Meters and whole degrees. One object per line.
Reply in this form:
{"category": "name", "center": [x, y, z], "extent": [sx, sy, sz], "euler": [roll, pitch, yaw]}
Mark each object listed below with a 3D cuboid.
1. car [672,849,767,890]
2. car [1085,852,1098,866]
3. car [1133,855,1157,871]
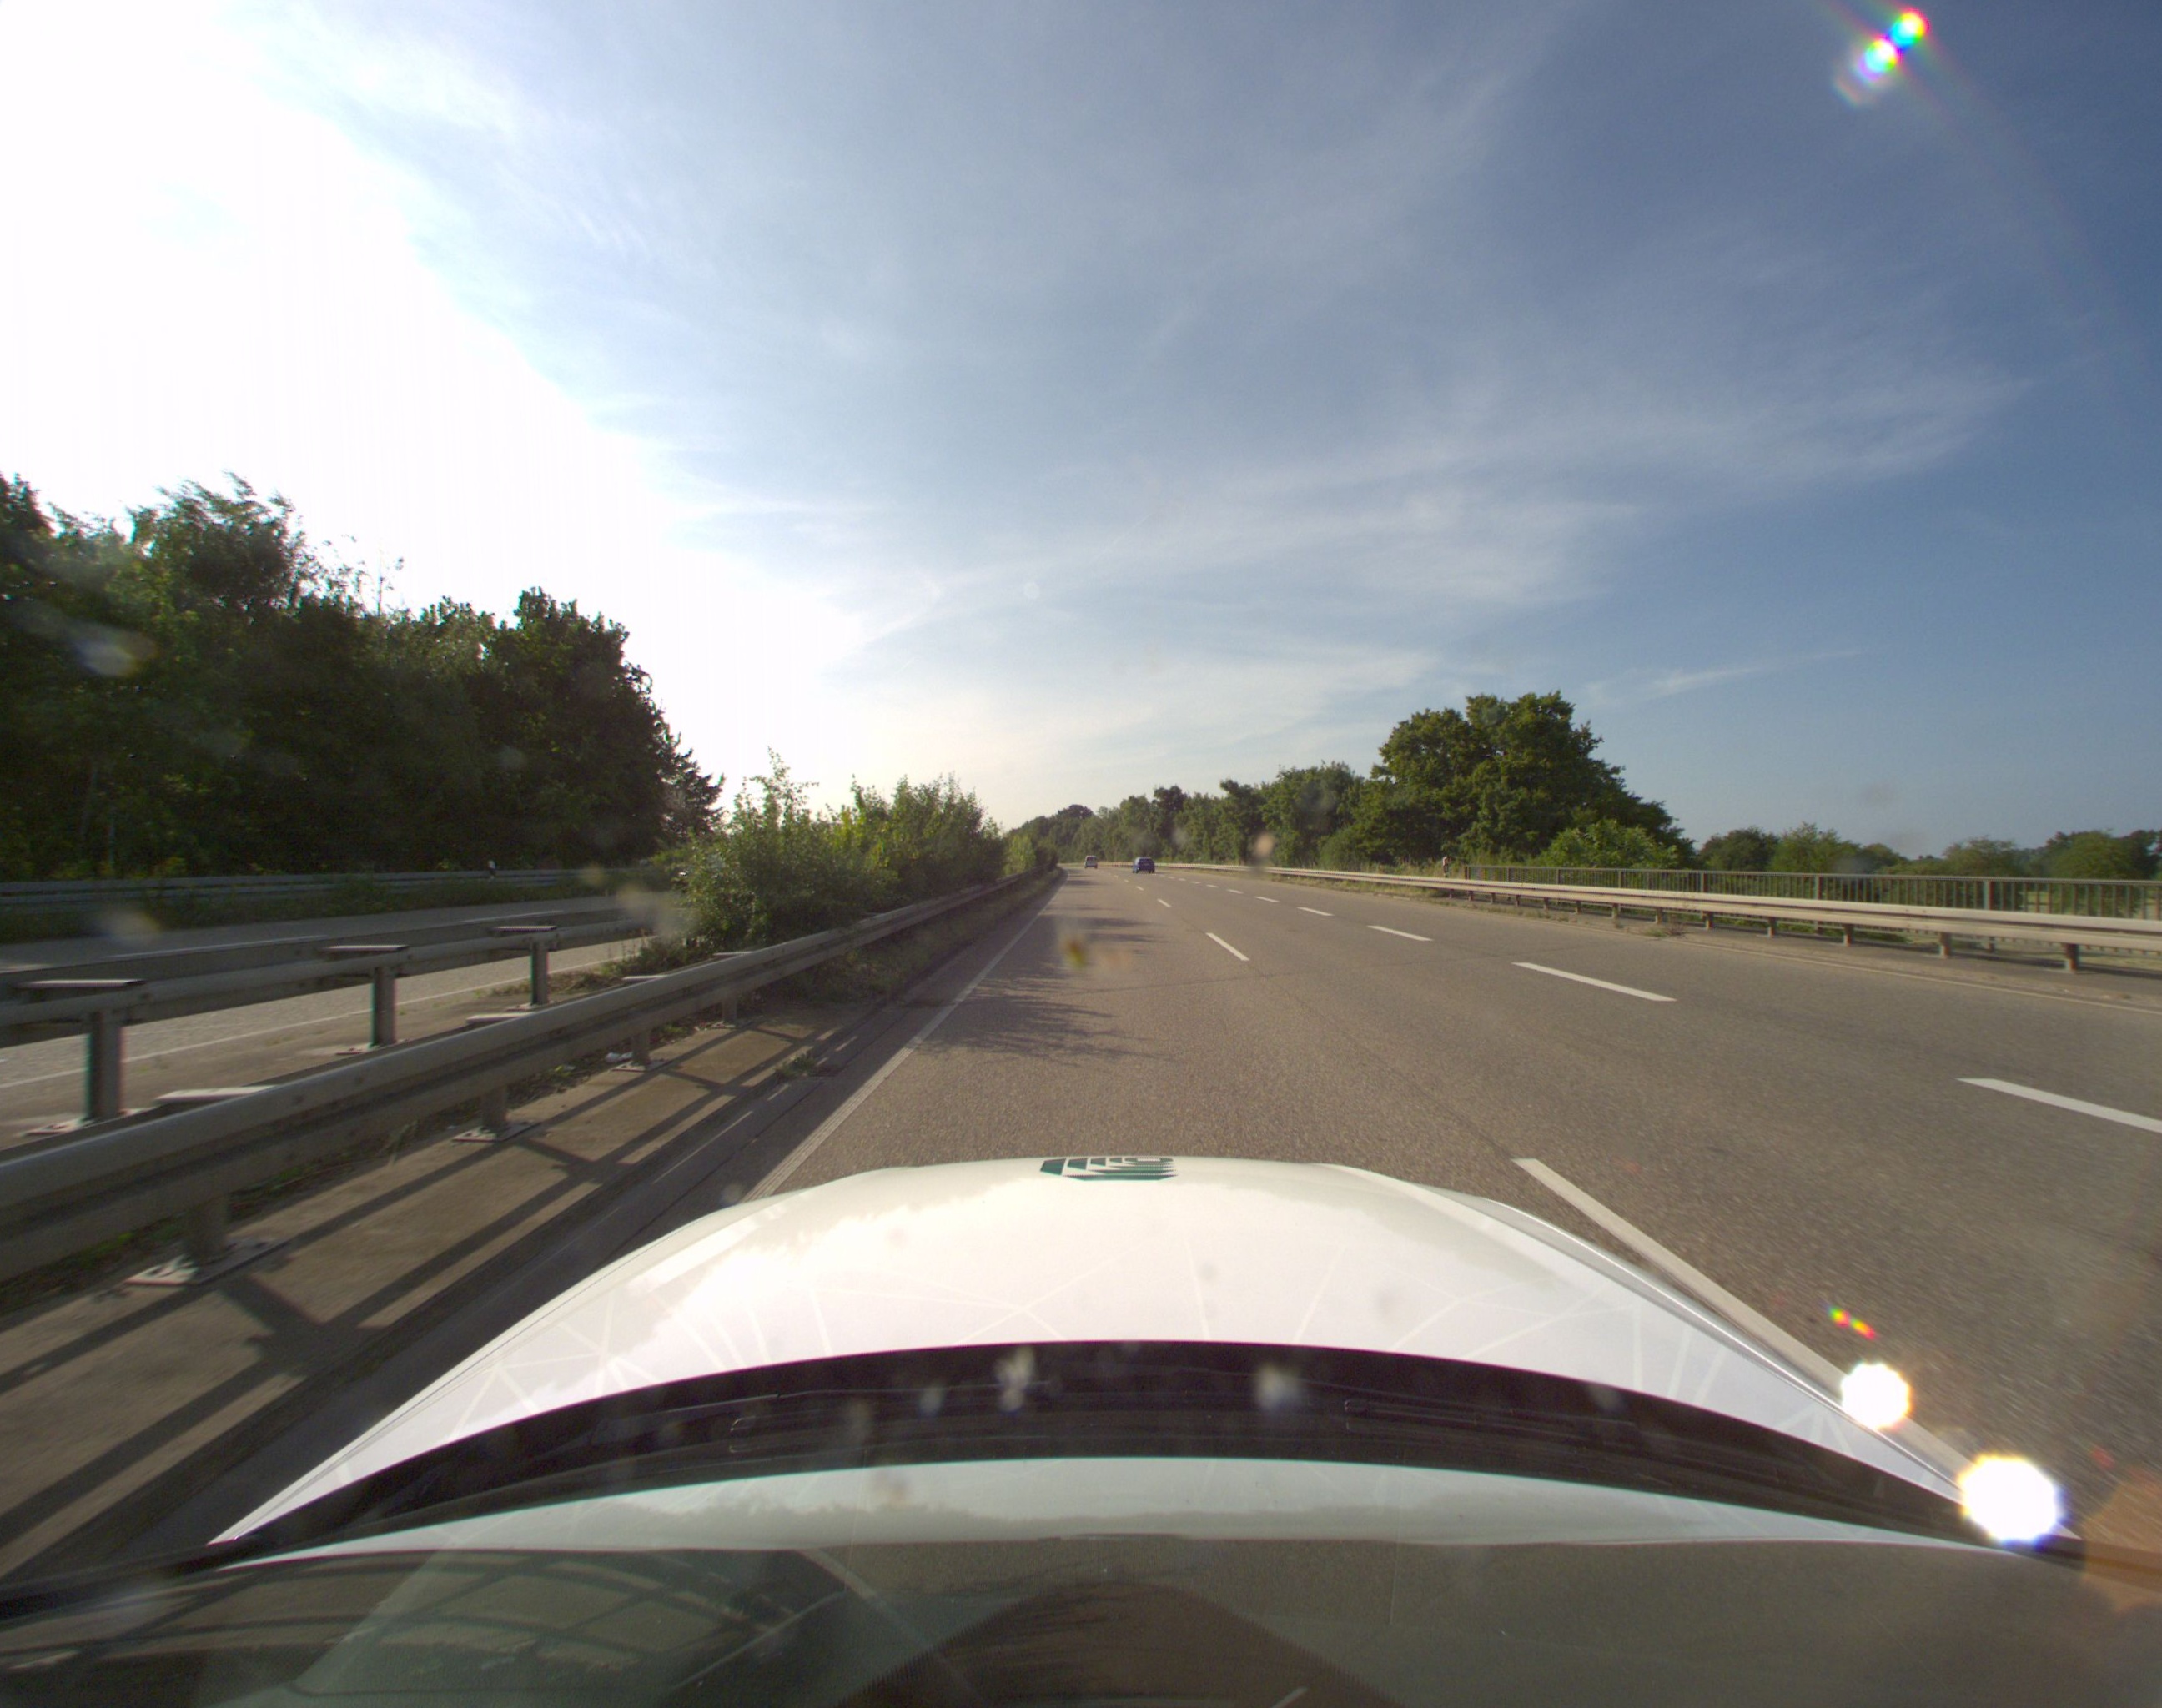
{"category": "car", "center": [-13.848, 0.564, 31.498], "extent": [1.949, 1.452, 4.103], "euler": [-1, 0, -2]}
{"category": "car", "center": [1.495, 0.692, 114.668], "extent": [1.760, 1.882, 3.998], "euler": [0, 0, -1]}
{"category": "car", "center": [5.812, 0.842, 74.840], "extent": [1.774, 1.451, 3.997], "euler": [0, -1, -2]}
